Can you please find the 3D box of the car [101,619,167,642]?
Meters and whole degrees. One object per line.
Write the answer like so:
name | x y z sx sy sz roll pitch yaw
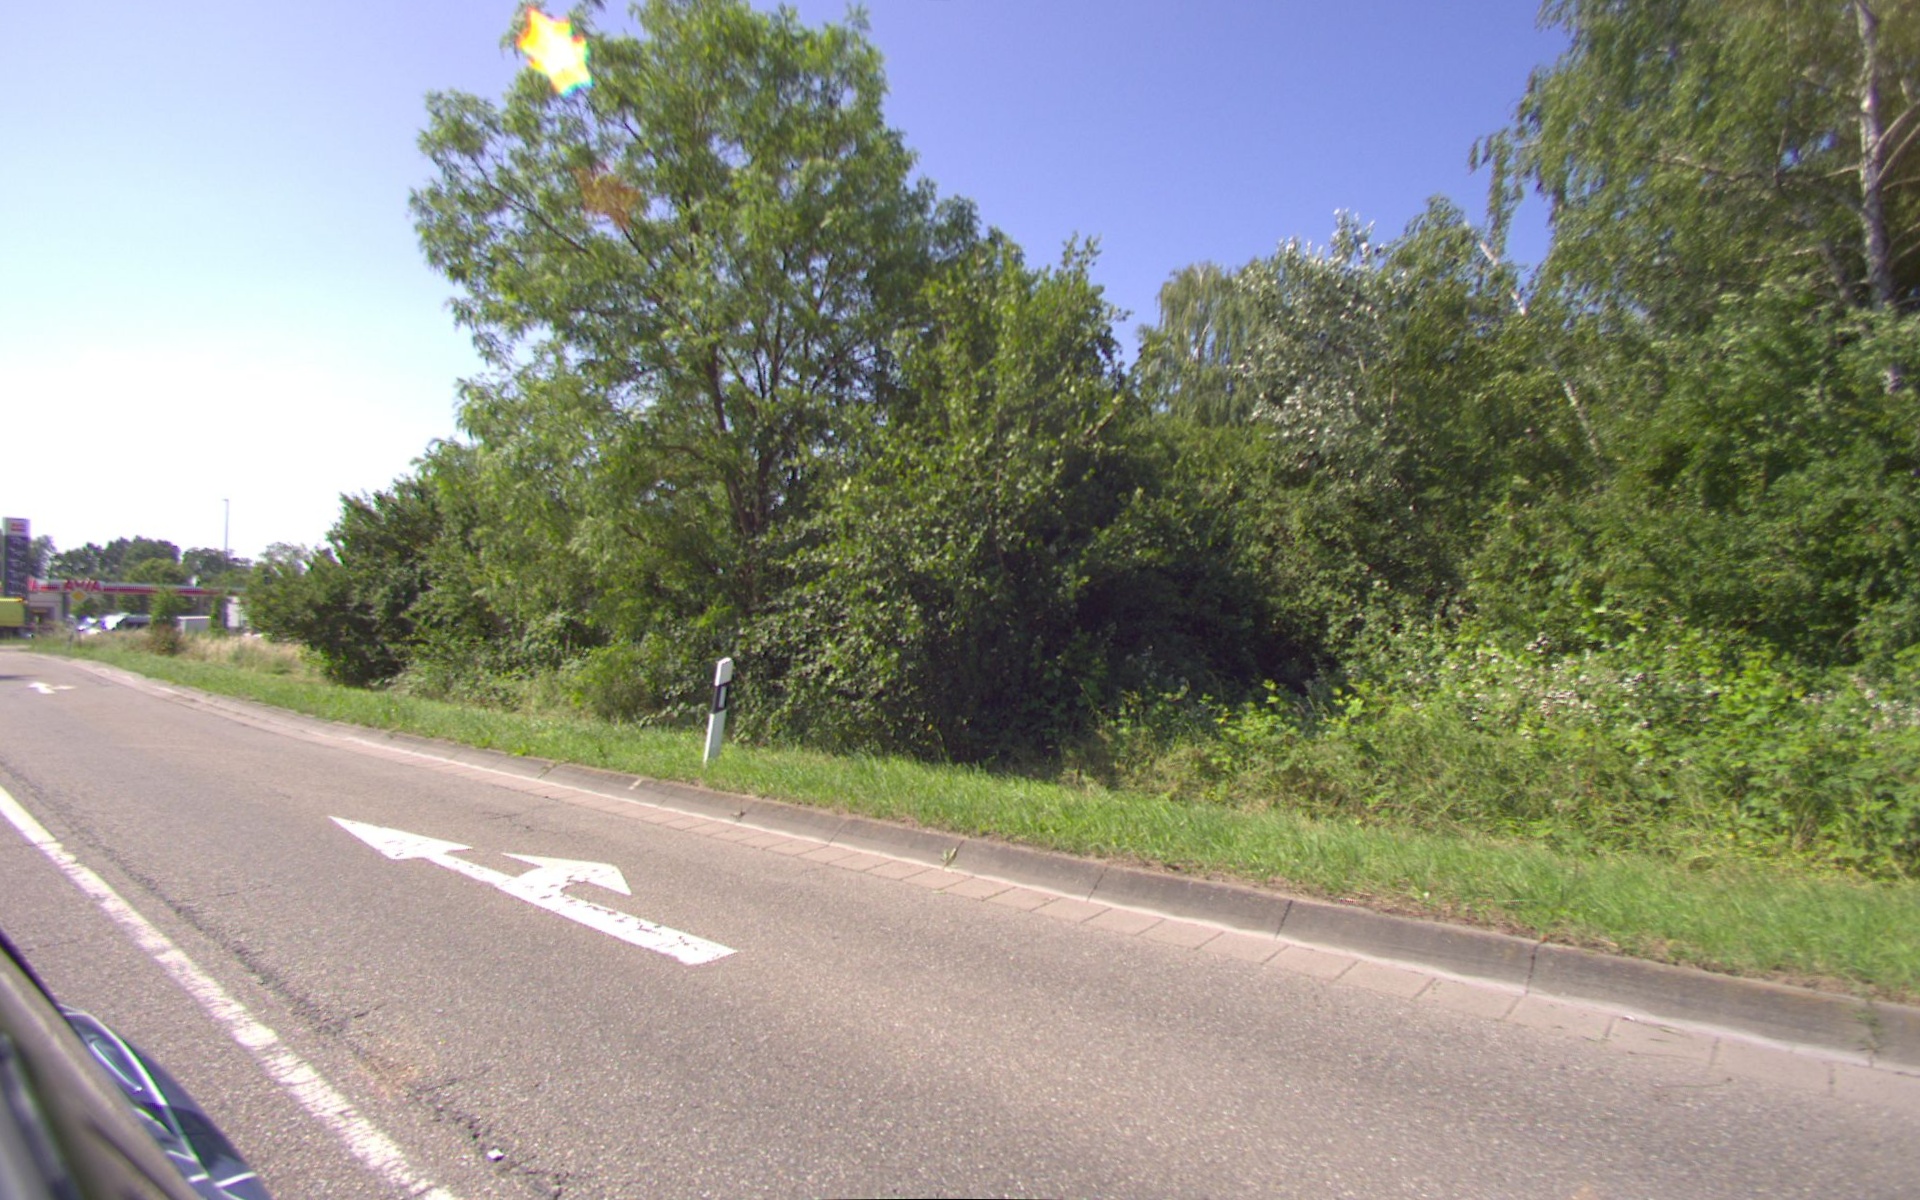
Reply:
car | -71.307 2.621 87.458 1.985 1.962 3.973 -1 -2 20

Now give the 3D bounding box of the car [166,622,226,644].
car | -70.005 3.061 92.764 1.985 1.962 3.973 -1 -2 20

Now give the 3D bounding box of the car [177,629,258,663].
car | -49.295 3.047 67.232 1.997 2.184 3.948 -1 -3 38

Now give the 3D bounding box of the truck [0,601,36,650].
truck | -70.539 1.682 69.312 3.881 3.420 10.204 -1 -3 39

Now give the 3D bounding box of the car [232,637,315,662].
car | -43.704 3.120 64.442 1.997 1.497 3.948 -1 -3 38
